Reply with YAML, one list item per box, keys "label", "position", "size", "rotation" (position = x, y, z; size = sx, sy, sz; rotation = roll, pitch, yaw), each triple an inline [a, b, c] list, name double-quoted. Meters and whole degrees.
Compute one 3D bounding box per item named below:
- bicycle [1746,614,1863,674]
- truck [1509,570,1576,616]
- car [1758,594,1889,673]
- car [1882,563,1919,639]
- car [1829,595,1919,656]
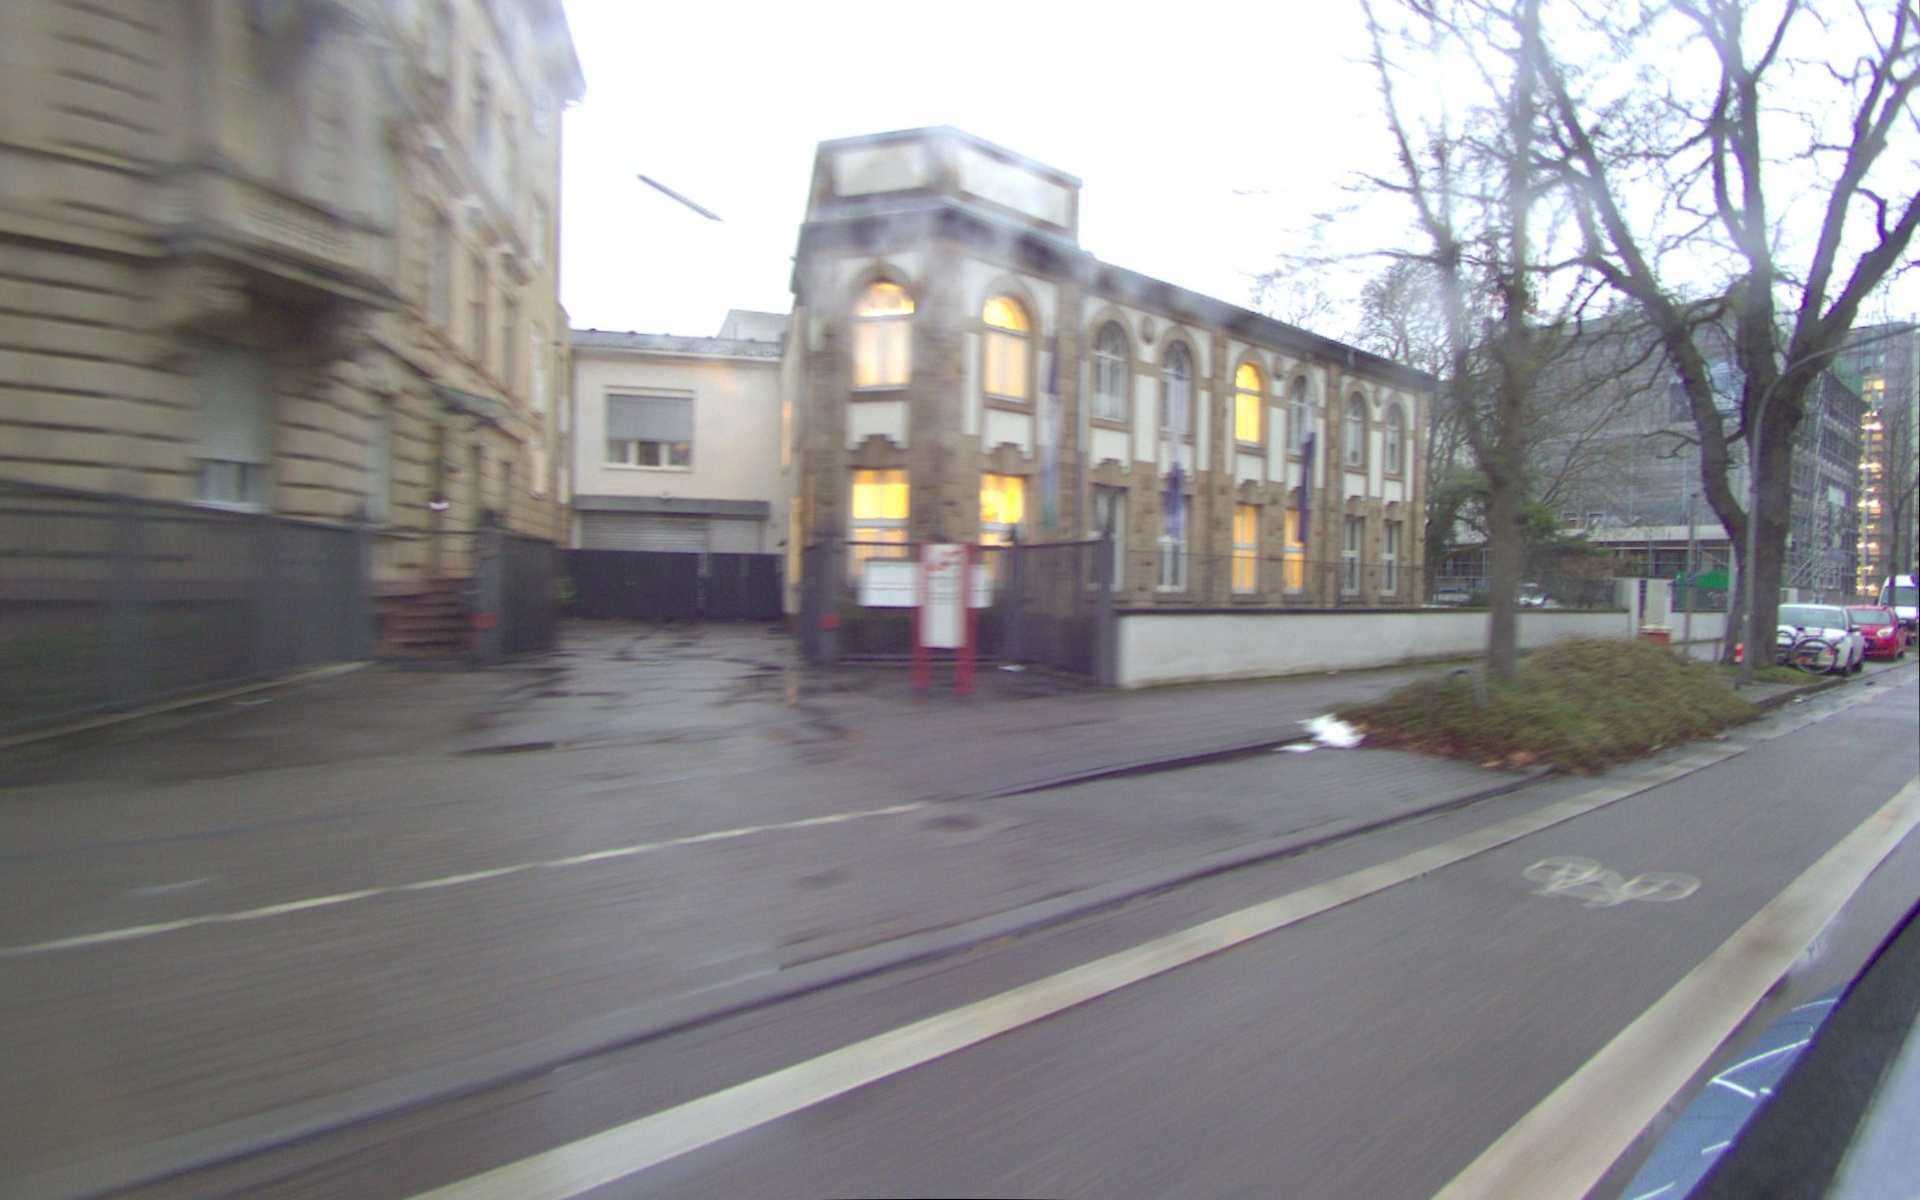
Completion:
- label: "bicycle"
  position: [17.060, 0.865, 20.471]
  size: [0.651, 1.084, 1.717]
  rotation: [1, 1, -40]
- label: "truck"
  position: [36.100, -0.490, 62.629]
  size: [2.125, 2.619, 6.975]
  rotation: [3, 3, 42]
- label: "car"
  position: [18.892, 0.682, 22.103]
  size: [3.574, 1.538, 1.694]
  rotation: [1, 1, -42]
- label: "car"
  position: [33.953, 0.085, 35.362]
  size: [5.347, 2.518, 2.127]
  rotation: [1, 1, -43]
- label: "car"
  position: [25.238, 0.673, 27.841]
  size: [3.512, 1.542, 1.645]
  rotation: [1, 0, -43]
